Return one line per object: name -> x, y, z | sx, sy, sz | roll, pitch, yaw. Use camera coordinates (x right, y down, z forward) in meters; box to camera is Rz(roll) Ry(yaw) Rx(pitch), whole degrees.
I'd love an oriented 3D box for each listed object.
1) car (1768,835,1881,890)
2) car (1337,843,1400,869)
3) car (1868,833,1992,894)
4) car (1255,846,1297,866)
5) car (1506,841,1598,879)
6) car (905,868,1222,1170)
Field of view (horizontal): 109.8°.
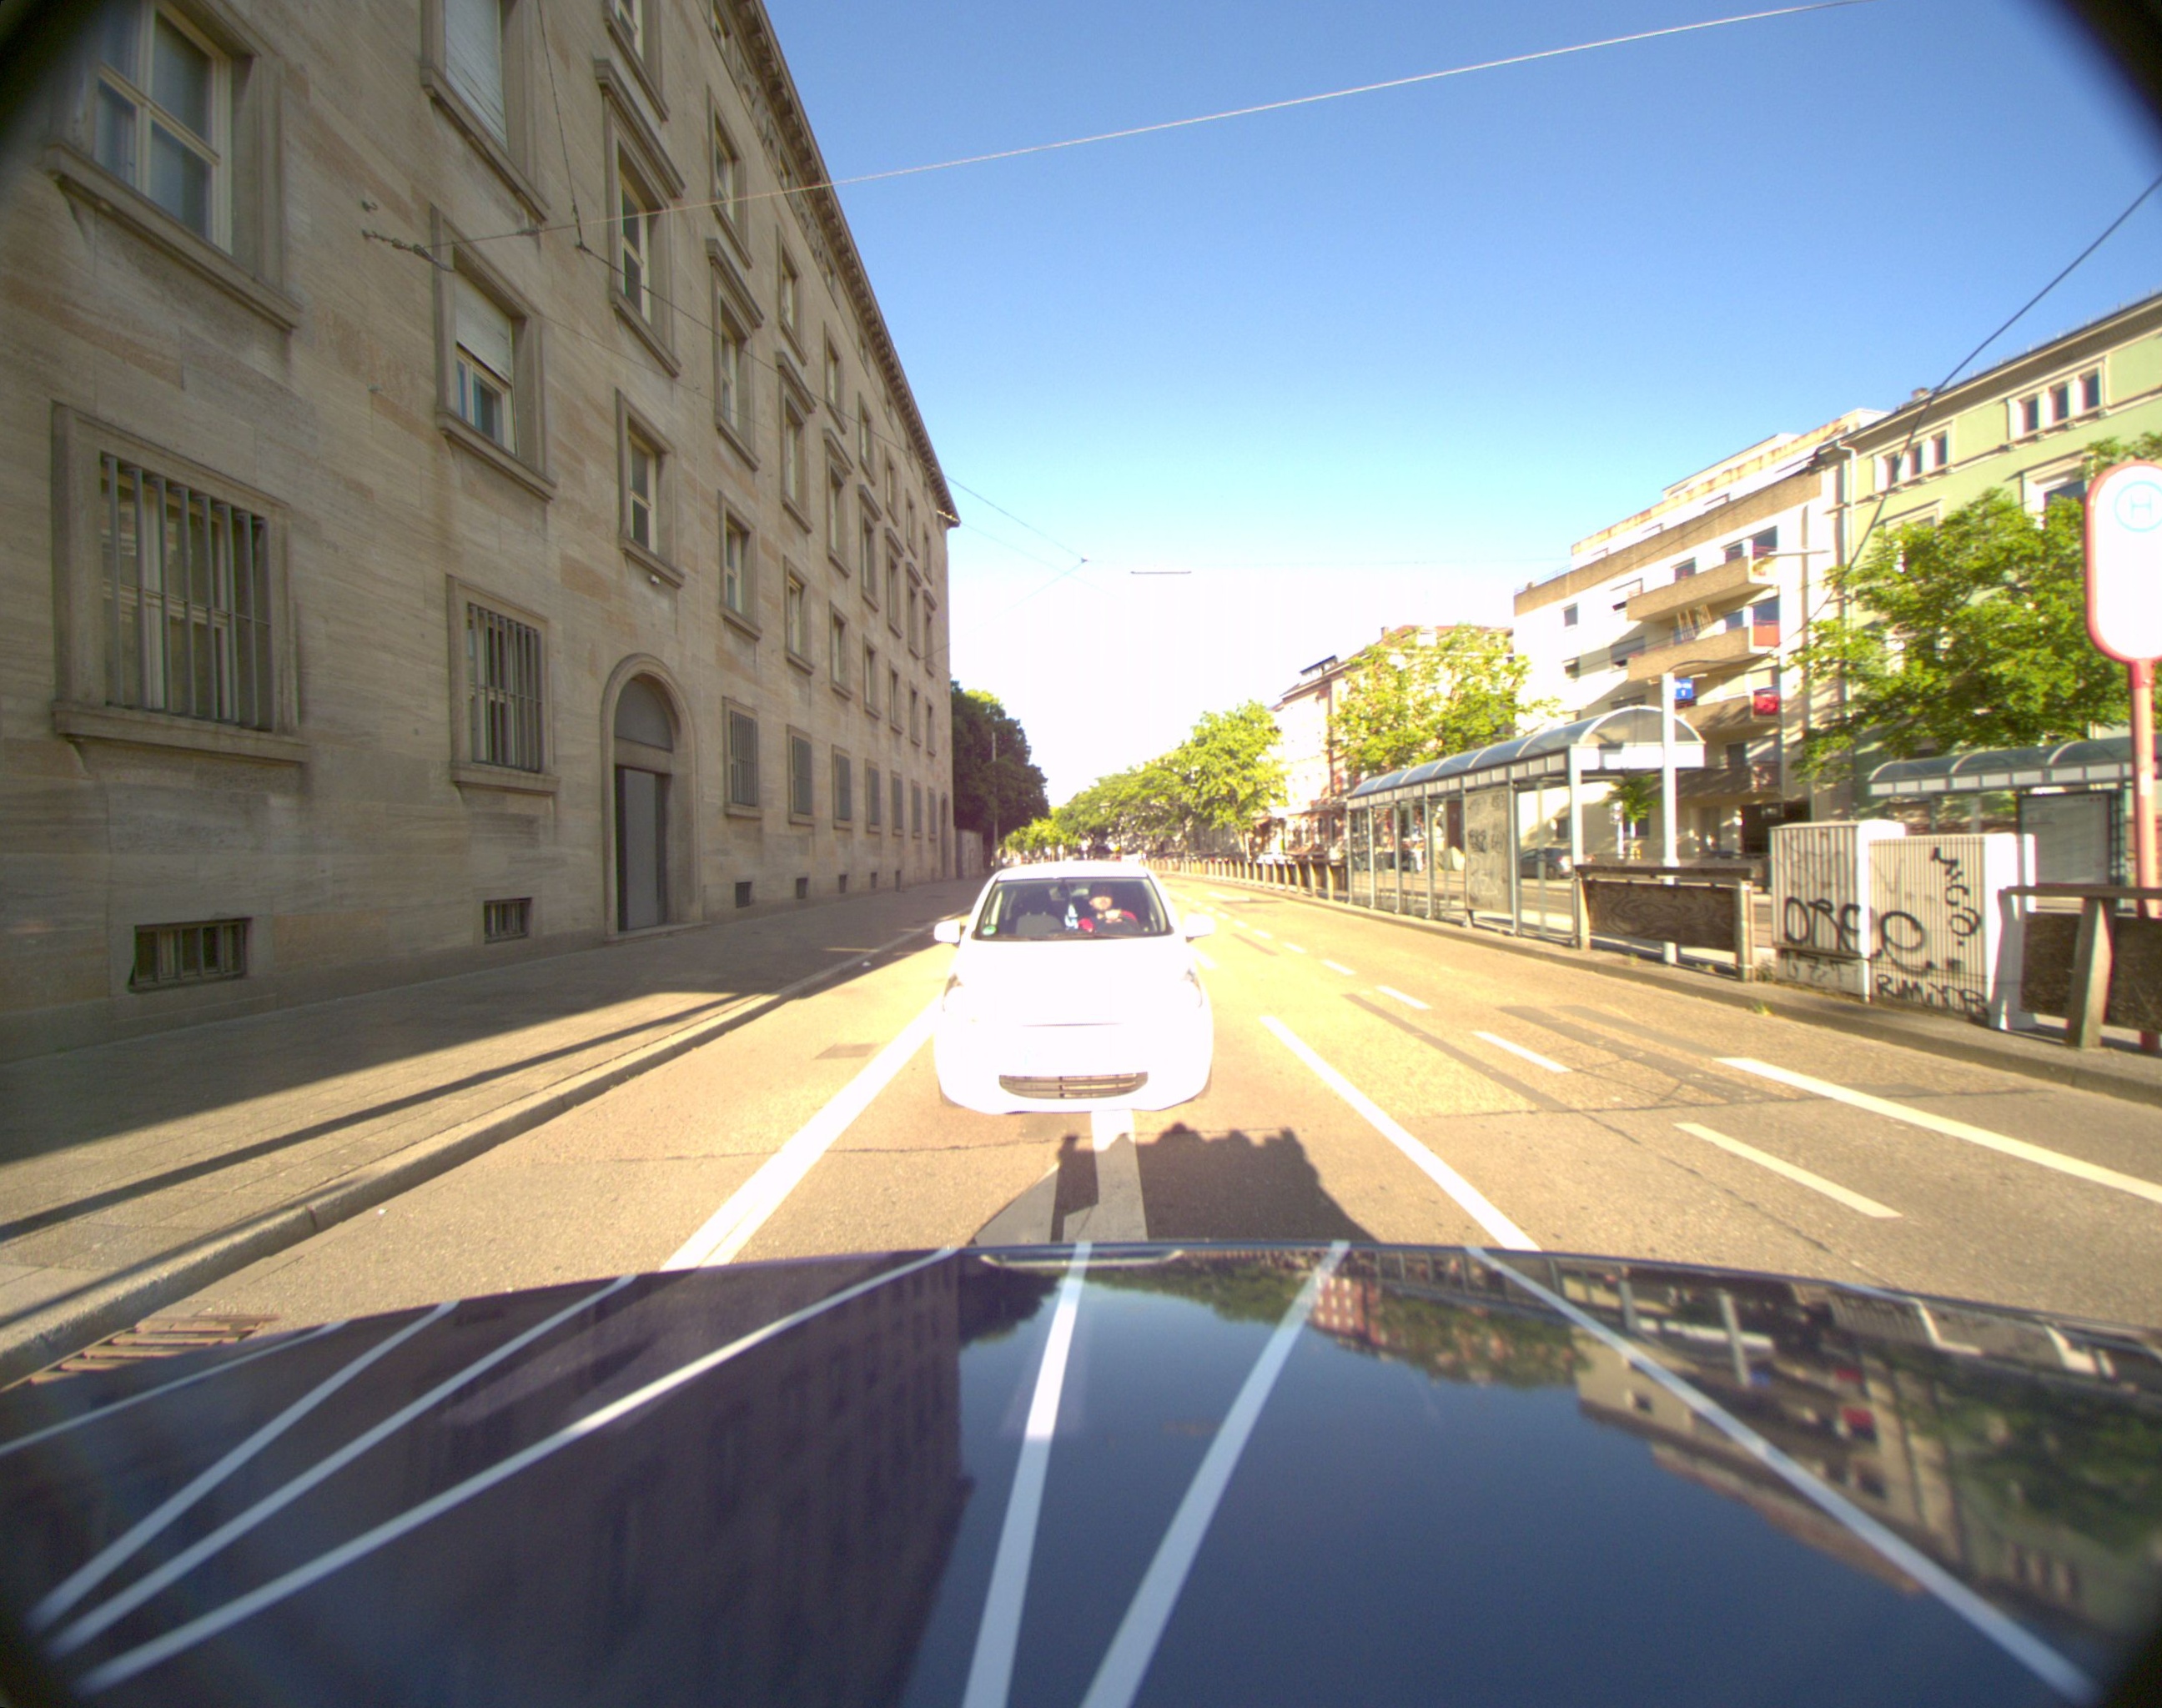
car -> 23.891, 0.228, 24.397 | 3.605, 1.558, 1.627 | -3, 1, -29
car -> 19.553, 0.129, 51.718 | 3.599, 1.558, 1.630 | -2, 1, -7
car -> 24.470, 0.234, 21.885 | 3.605, 1.558, 1.627 | -3, 1, -29
car -> 16.268, 0.160, 63.472 | 3.607, 1.558, 1.627 | -3, 1, -42
car -> 20.923, 0.235, 33.927 | 1.631, 1.558, 3.598 | -2, 1, -5
car -> -0.068, 0.901, 5.805 | 1.612, 1.462, 3.631 | -2, 0, 1
